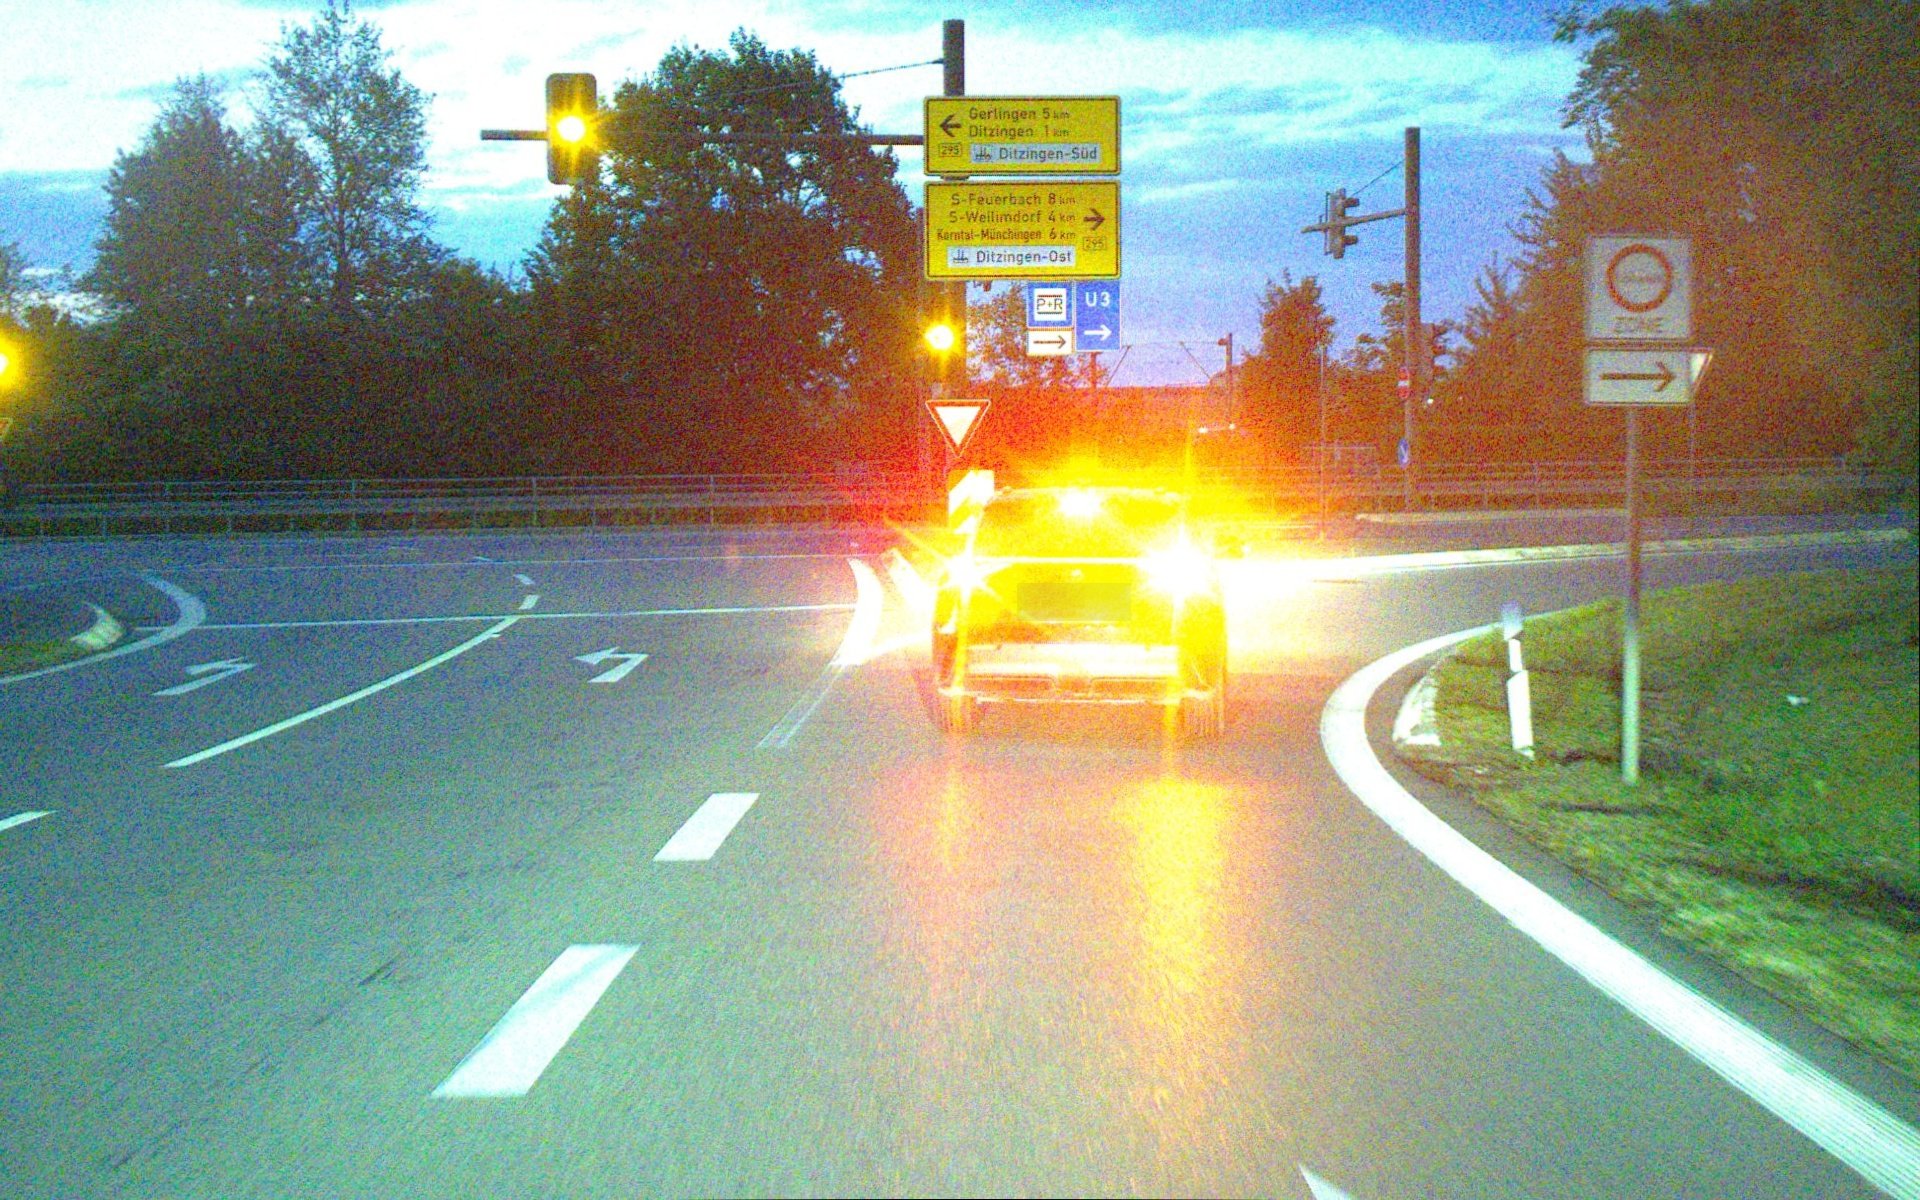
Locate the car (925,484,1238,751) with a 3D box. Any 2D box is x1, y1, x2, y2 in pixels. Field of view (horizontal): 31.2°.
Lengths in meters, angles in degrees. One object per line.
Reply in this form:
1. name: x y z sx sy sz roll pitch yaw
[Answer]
1. car: 0.773 0.035 23.407 1.901 1.614 4.557 1 2 1
